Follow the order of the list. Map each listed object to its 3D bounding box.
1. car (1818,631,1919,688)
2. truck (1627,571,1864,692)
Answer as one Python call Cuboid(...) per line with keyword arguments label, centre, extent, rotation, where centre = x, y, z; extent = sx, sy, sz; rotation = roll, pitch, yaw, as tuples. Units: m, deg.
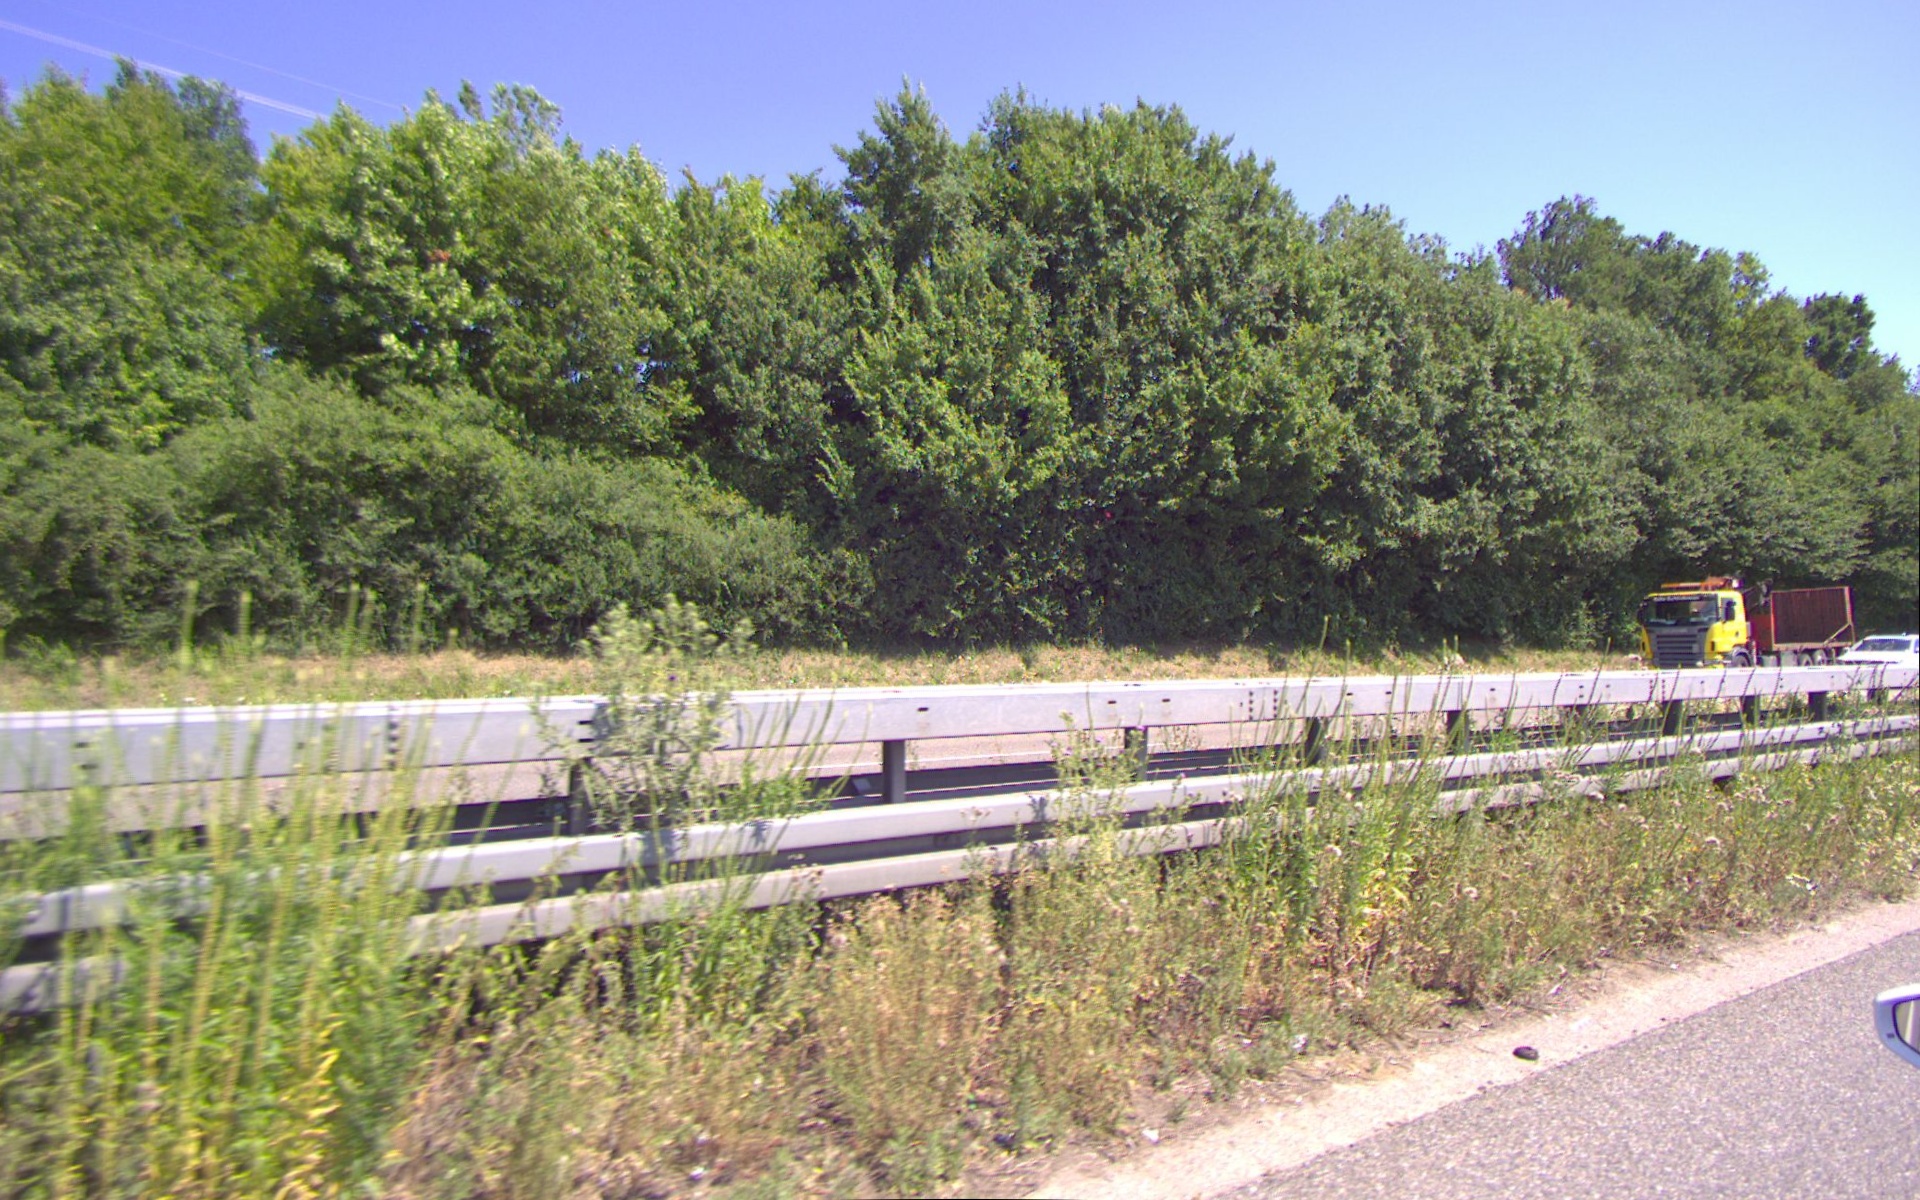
Cuboid(label="car", centre=(30.174, 1.912, 32.471), extent=(5.546, 1.692, 1.984), rotation=(2, -3, -31))
Cuboid(label="truck", centre=(27.907, 1.118, 35.444), extent=(11.030, 3.788, 2.768), rotation=(2, 0, -31))
